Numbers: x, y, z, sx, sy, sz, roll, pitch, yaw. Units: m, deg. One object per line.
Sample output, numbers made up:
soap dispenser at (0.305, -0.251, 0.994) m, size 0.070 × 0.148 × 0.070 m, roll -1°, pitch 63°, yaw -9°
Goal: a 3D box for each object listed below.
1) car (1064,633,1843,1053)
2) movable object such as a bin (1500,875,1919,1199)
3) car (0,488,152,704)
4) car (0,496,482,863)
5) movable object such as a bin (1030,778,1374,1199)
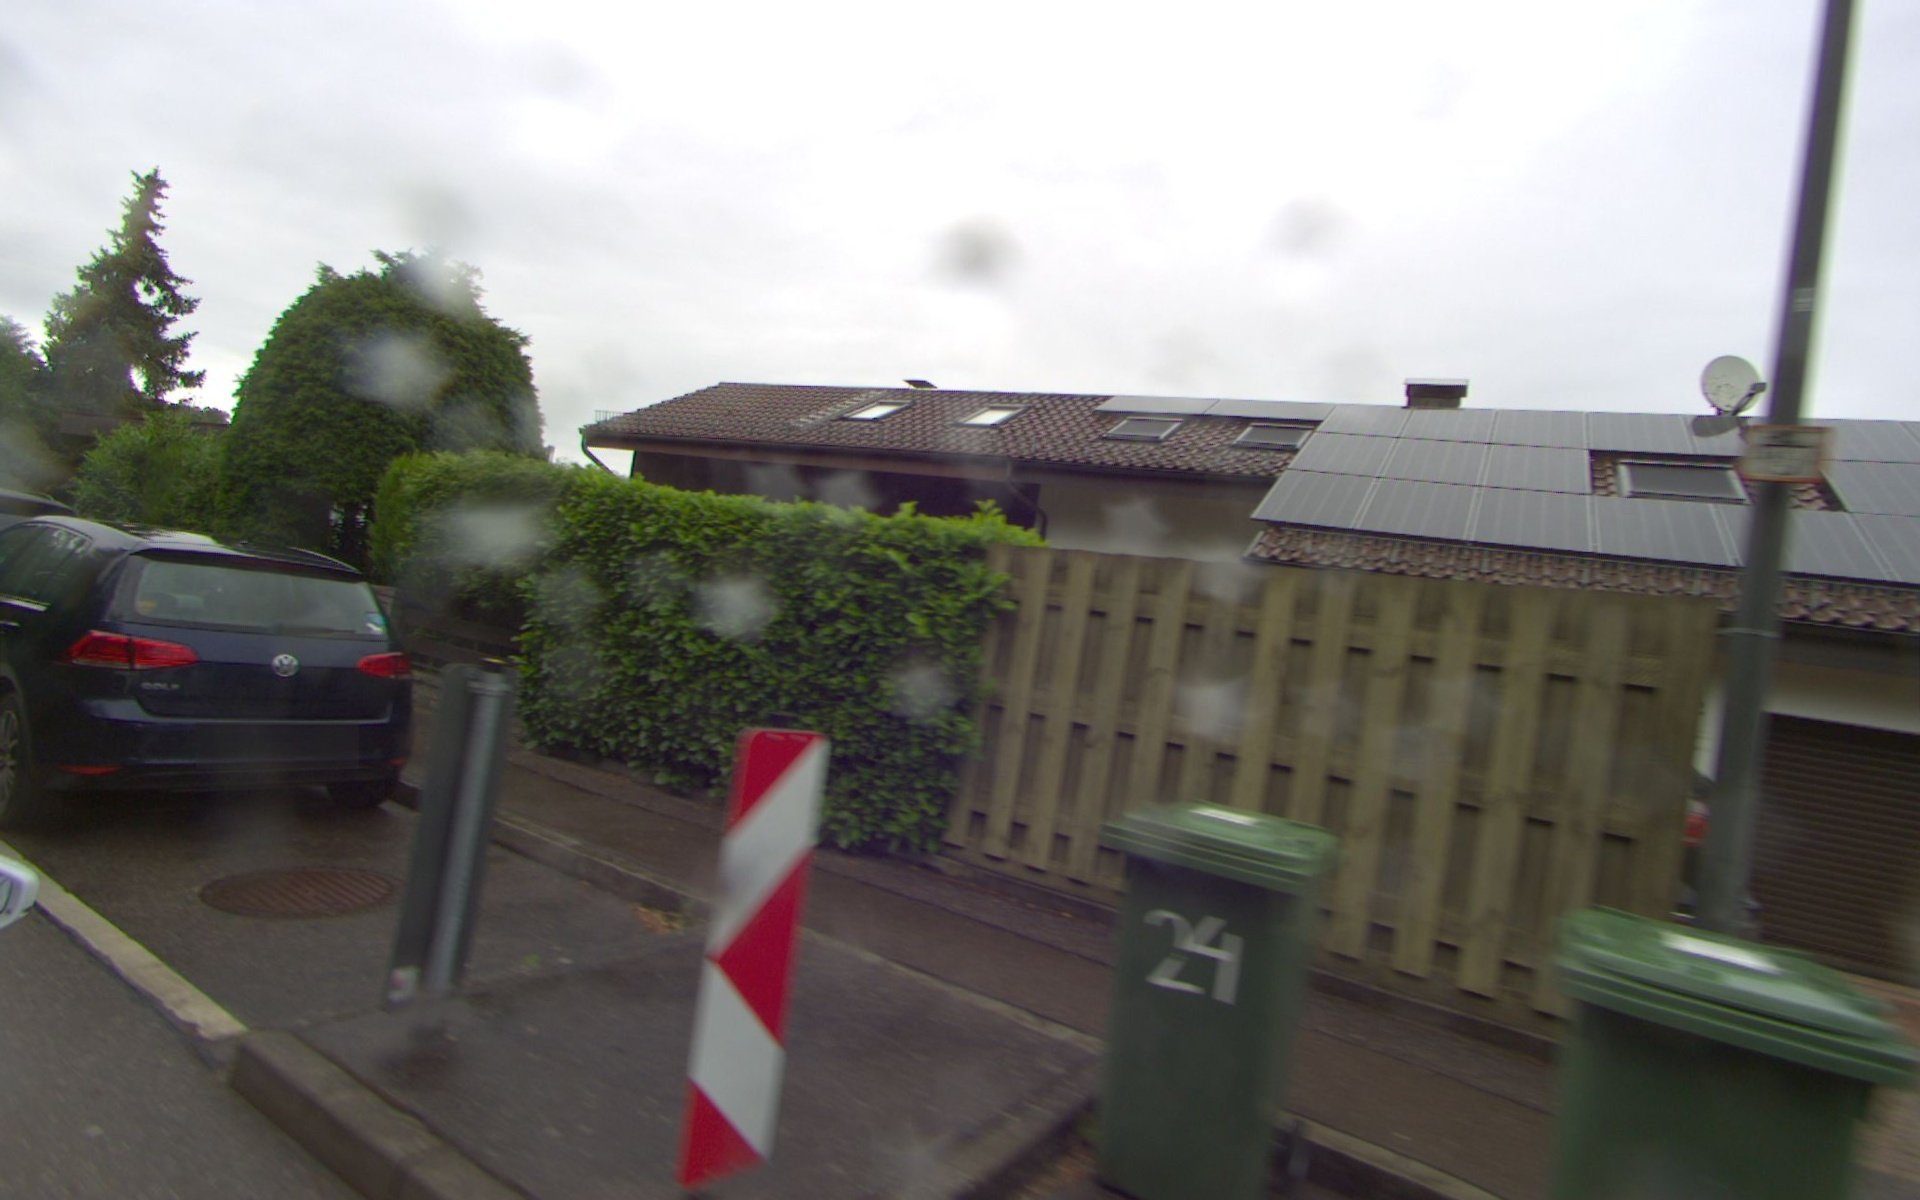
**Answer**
car at (3.043, 1.379, 7.081) m, size 1.987 × 1.736 × 4.368 m, roll 13°, pitch -6°, yaw -36°
movable object such as a bin at (1.566, 1.266, 2.170) m, size 0.645 × 1.107 × 0.717 m, roll 8°, pitch -2°, yaw 30°
car at (-9.181, -0.270, 8.844) m, size 4.407 × 1.610 × 1.879 m, roll 7°, pitch -2°, yaw 34°
car at (-5.006, 0.248, 6.094) m, size 4.231 × 1.478 × 1.759 m, roll 7°, pitch -3°, yaw 34°
movable object such as a bin at (0.734, 1.137, 2.942) m, size 0.650 × 1.090 × 0.730 m, roll 8°, pitch -2°, yaw 32°
